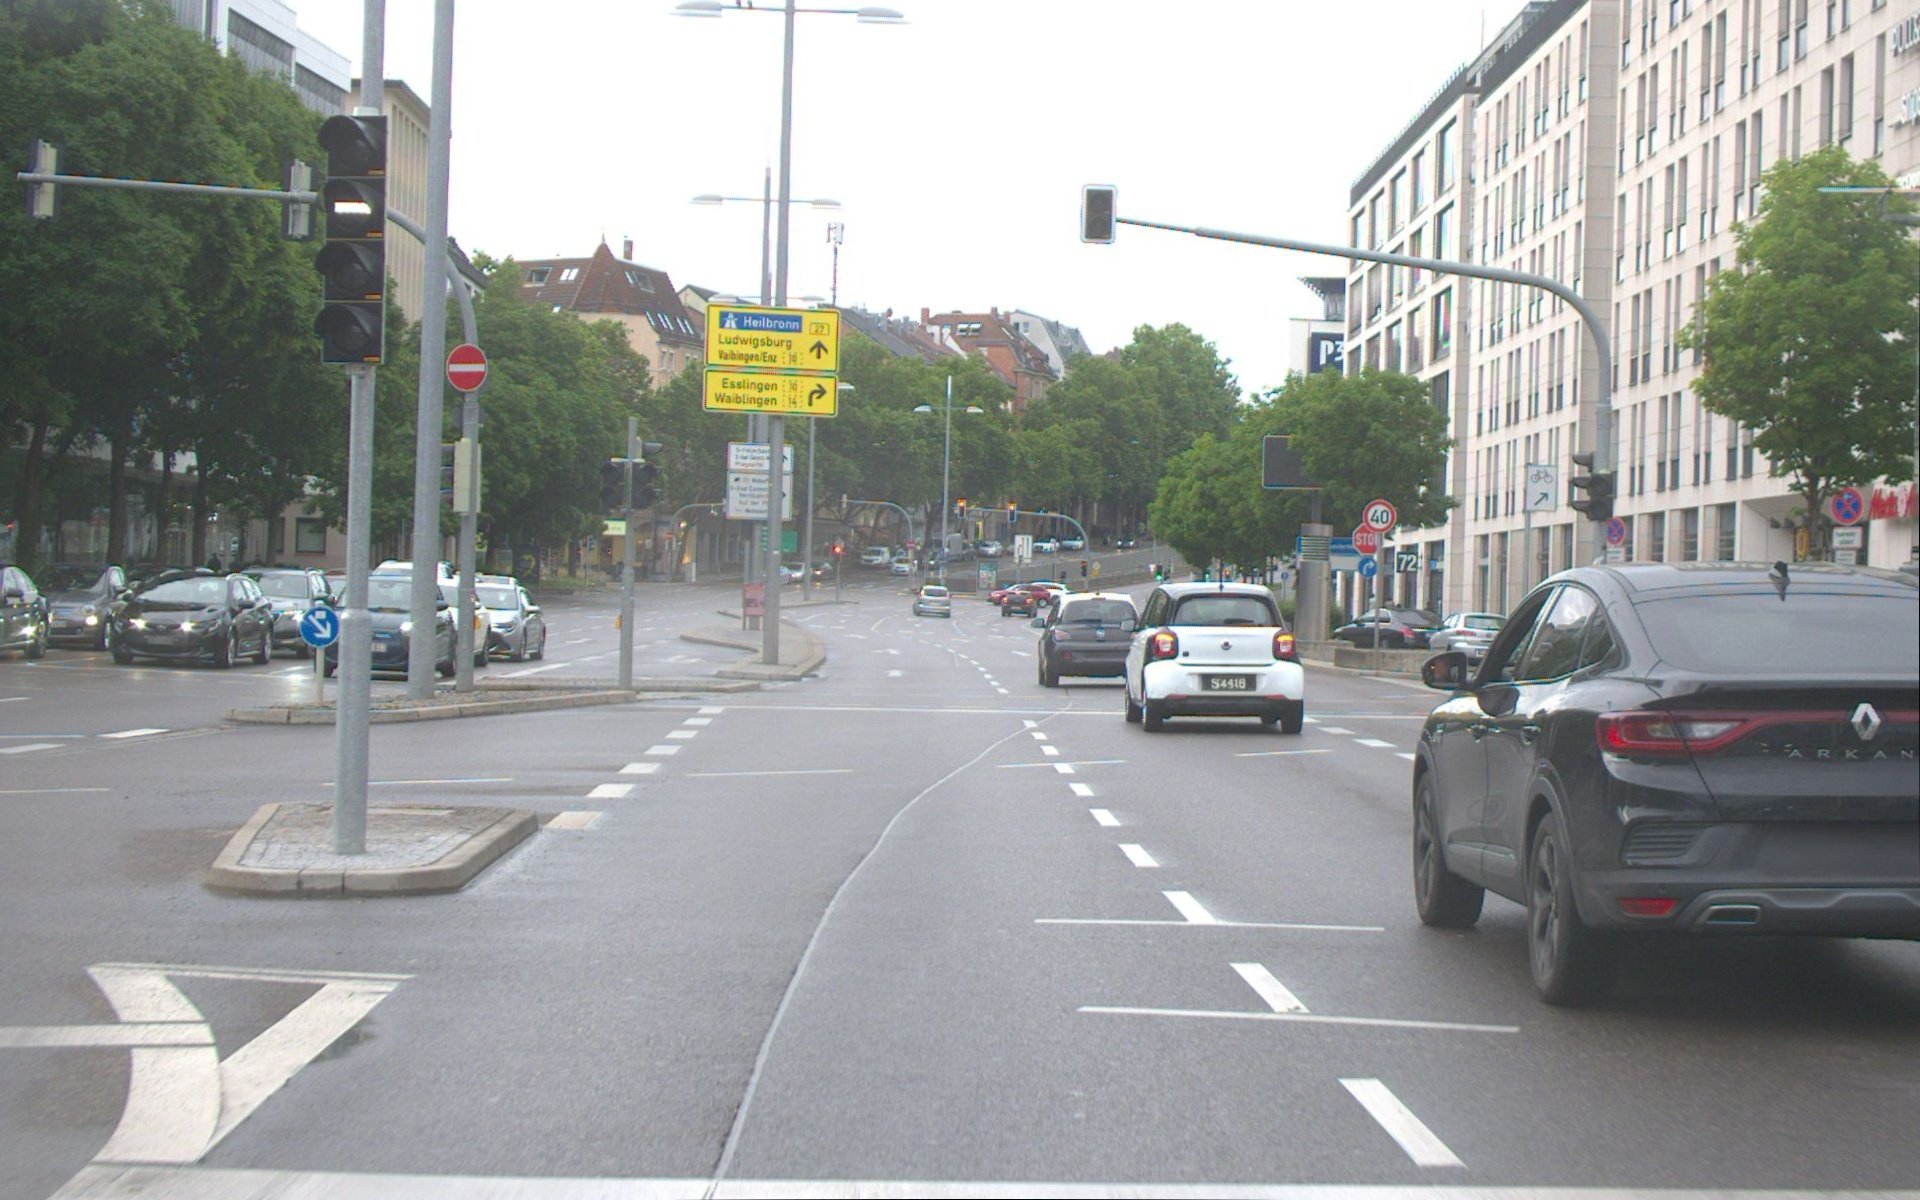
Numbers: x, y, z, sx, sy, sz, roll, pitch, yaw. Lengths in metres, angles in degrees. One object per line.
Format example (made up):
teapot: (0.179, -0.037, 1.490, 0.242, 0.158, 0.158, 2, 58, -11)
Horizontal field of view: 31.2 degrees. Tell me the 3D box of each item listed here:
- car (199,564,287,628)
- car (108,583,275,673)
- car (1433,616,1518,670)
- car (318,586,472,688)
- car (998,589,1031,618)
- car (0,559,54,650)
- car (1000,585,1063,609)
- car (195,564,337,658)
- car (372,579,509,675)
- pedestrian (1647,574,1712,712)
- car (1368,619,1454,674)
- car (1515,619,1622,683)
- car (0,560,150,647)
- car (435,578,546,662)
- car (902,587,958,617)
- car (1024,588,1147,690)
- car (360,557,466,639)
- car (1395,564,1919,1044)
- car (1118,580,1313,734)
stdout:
car: (-20.340, -0.103, 97.611, 1.743, 1.742, 3.539, 1, 0, 0)
car: (-11.667, 0.404, 52.365, 1.743, 1.253, 3.540, 2, 1, 0)
car: (12.533, 1.037, 83.767, 1.506, 1.261, 3.502, 1, 0, 0)
car: (-8.388, 0.544, 51.278, 1.743, 1.439, 3.395, 1, 0, 0)
car: (3.005, 0.215, 190.222, 1.740, 1.526, 3.814, 1, 0, 0)
car: (-14.781, 0.062, 50.662, 1.743, 1.324, 4.225, 1, 0, 0)
car: (4.677, -0.193, 225.187, 3.800, 1.526, 1.746, 1, 0, -13)
car: (-11.938, 0.199, 59.334, 1.743, 1.553, 3.539, 1, 0, 0)
car: (-8.811, 0.458, 58.585, 1.702, 1.553, 4.244, 1, 0, 0)
pedestrian: (9.577, 0.572, 45.762, 0.727, 1.826, 0.510, 1, -1, 0)
car: (11.696, 1.198, 89.335, 1.661, 1.396, 3.832, 1, 0, 0)
car: (12.352, 1.024, 69.974, 1.506, 1.261, 3.502, 1, 0, 0)
car: (-15.221, 0.073, 59.181, 1.743, 1.419, 3.539, 1, 0, 0)
car: (-8.625, 0.370, 63.397, 1.538, 1.472, 3.696, 1, 0, 0)
car: (-1.589, 0.093, 178.542, 1.739, 1.526, 3.815, 1, 1, -20)
car: (1.947, 0.606, 54.149, 1.740, 1.526, 3.814, 1, 0, 0)
car: (-11.931, -0.029, 75.175, 1.743, 1.742, 3.539, 1, 0, 0)
car: (2.869, 0.634, 13.134, 1.791, 1.501, 4.339, 1, 1, -1)
car: (2.645, 0.586, 36.352, 1.724, 1.526, 3.814, 1, 0, 0)
